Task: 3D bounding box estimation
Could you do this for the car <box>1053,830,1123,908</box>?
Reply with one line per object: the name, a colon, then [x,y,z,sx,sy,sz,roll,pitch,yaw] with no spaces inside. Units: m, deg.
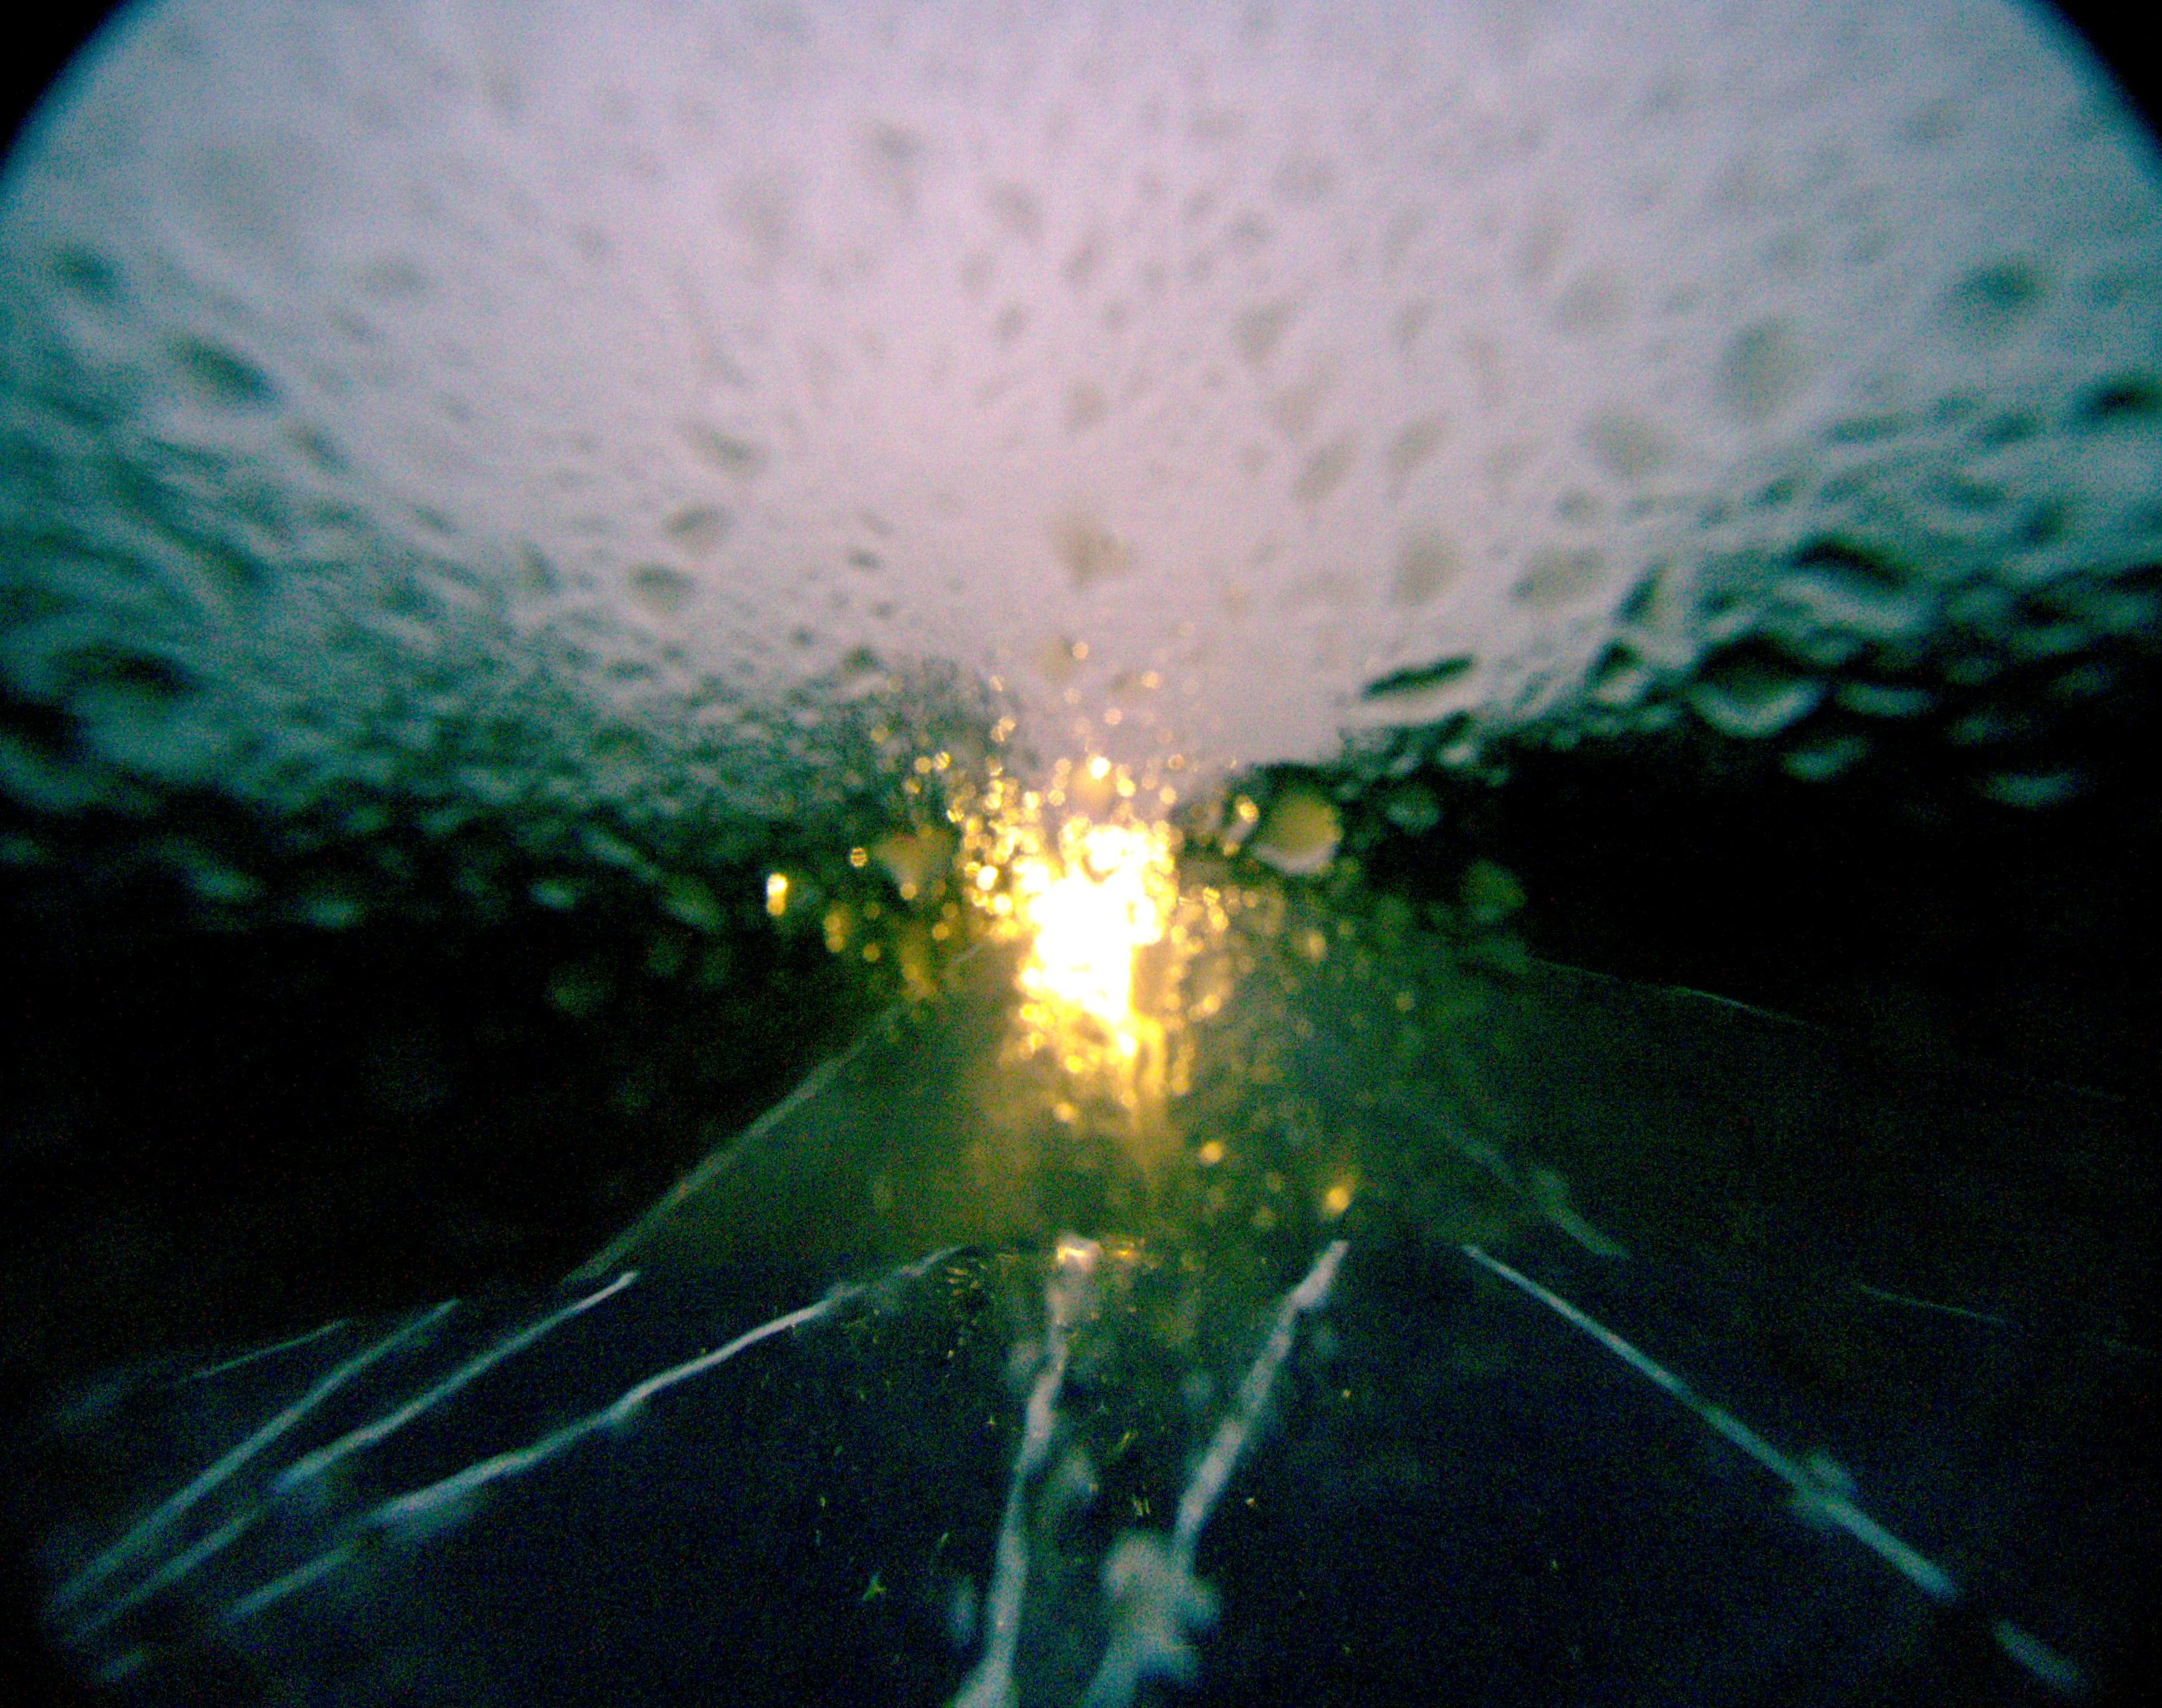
car: [0.304,0.434,24.269,1.953,2.195,4.535,-2,0,2]
